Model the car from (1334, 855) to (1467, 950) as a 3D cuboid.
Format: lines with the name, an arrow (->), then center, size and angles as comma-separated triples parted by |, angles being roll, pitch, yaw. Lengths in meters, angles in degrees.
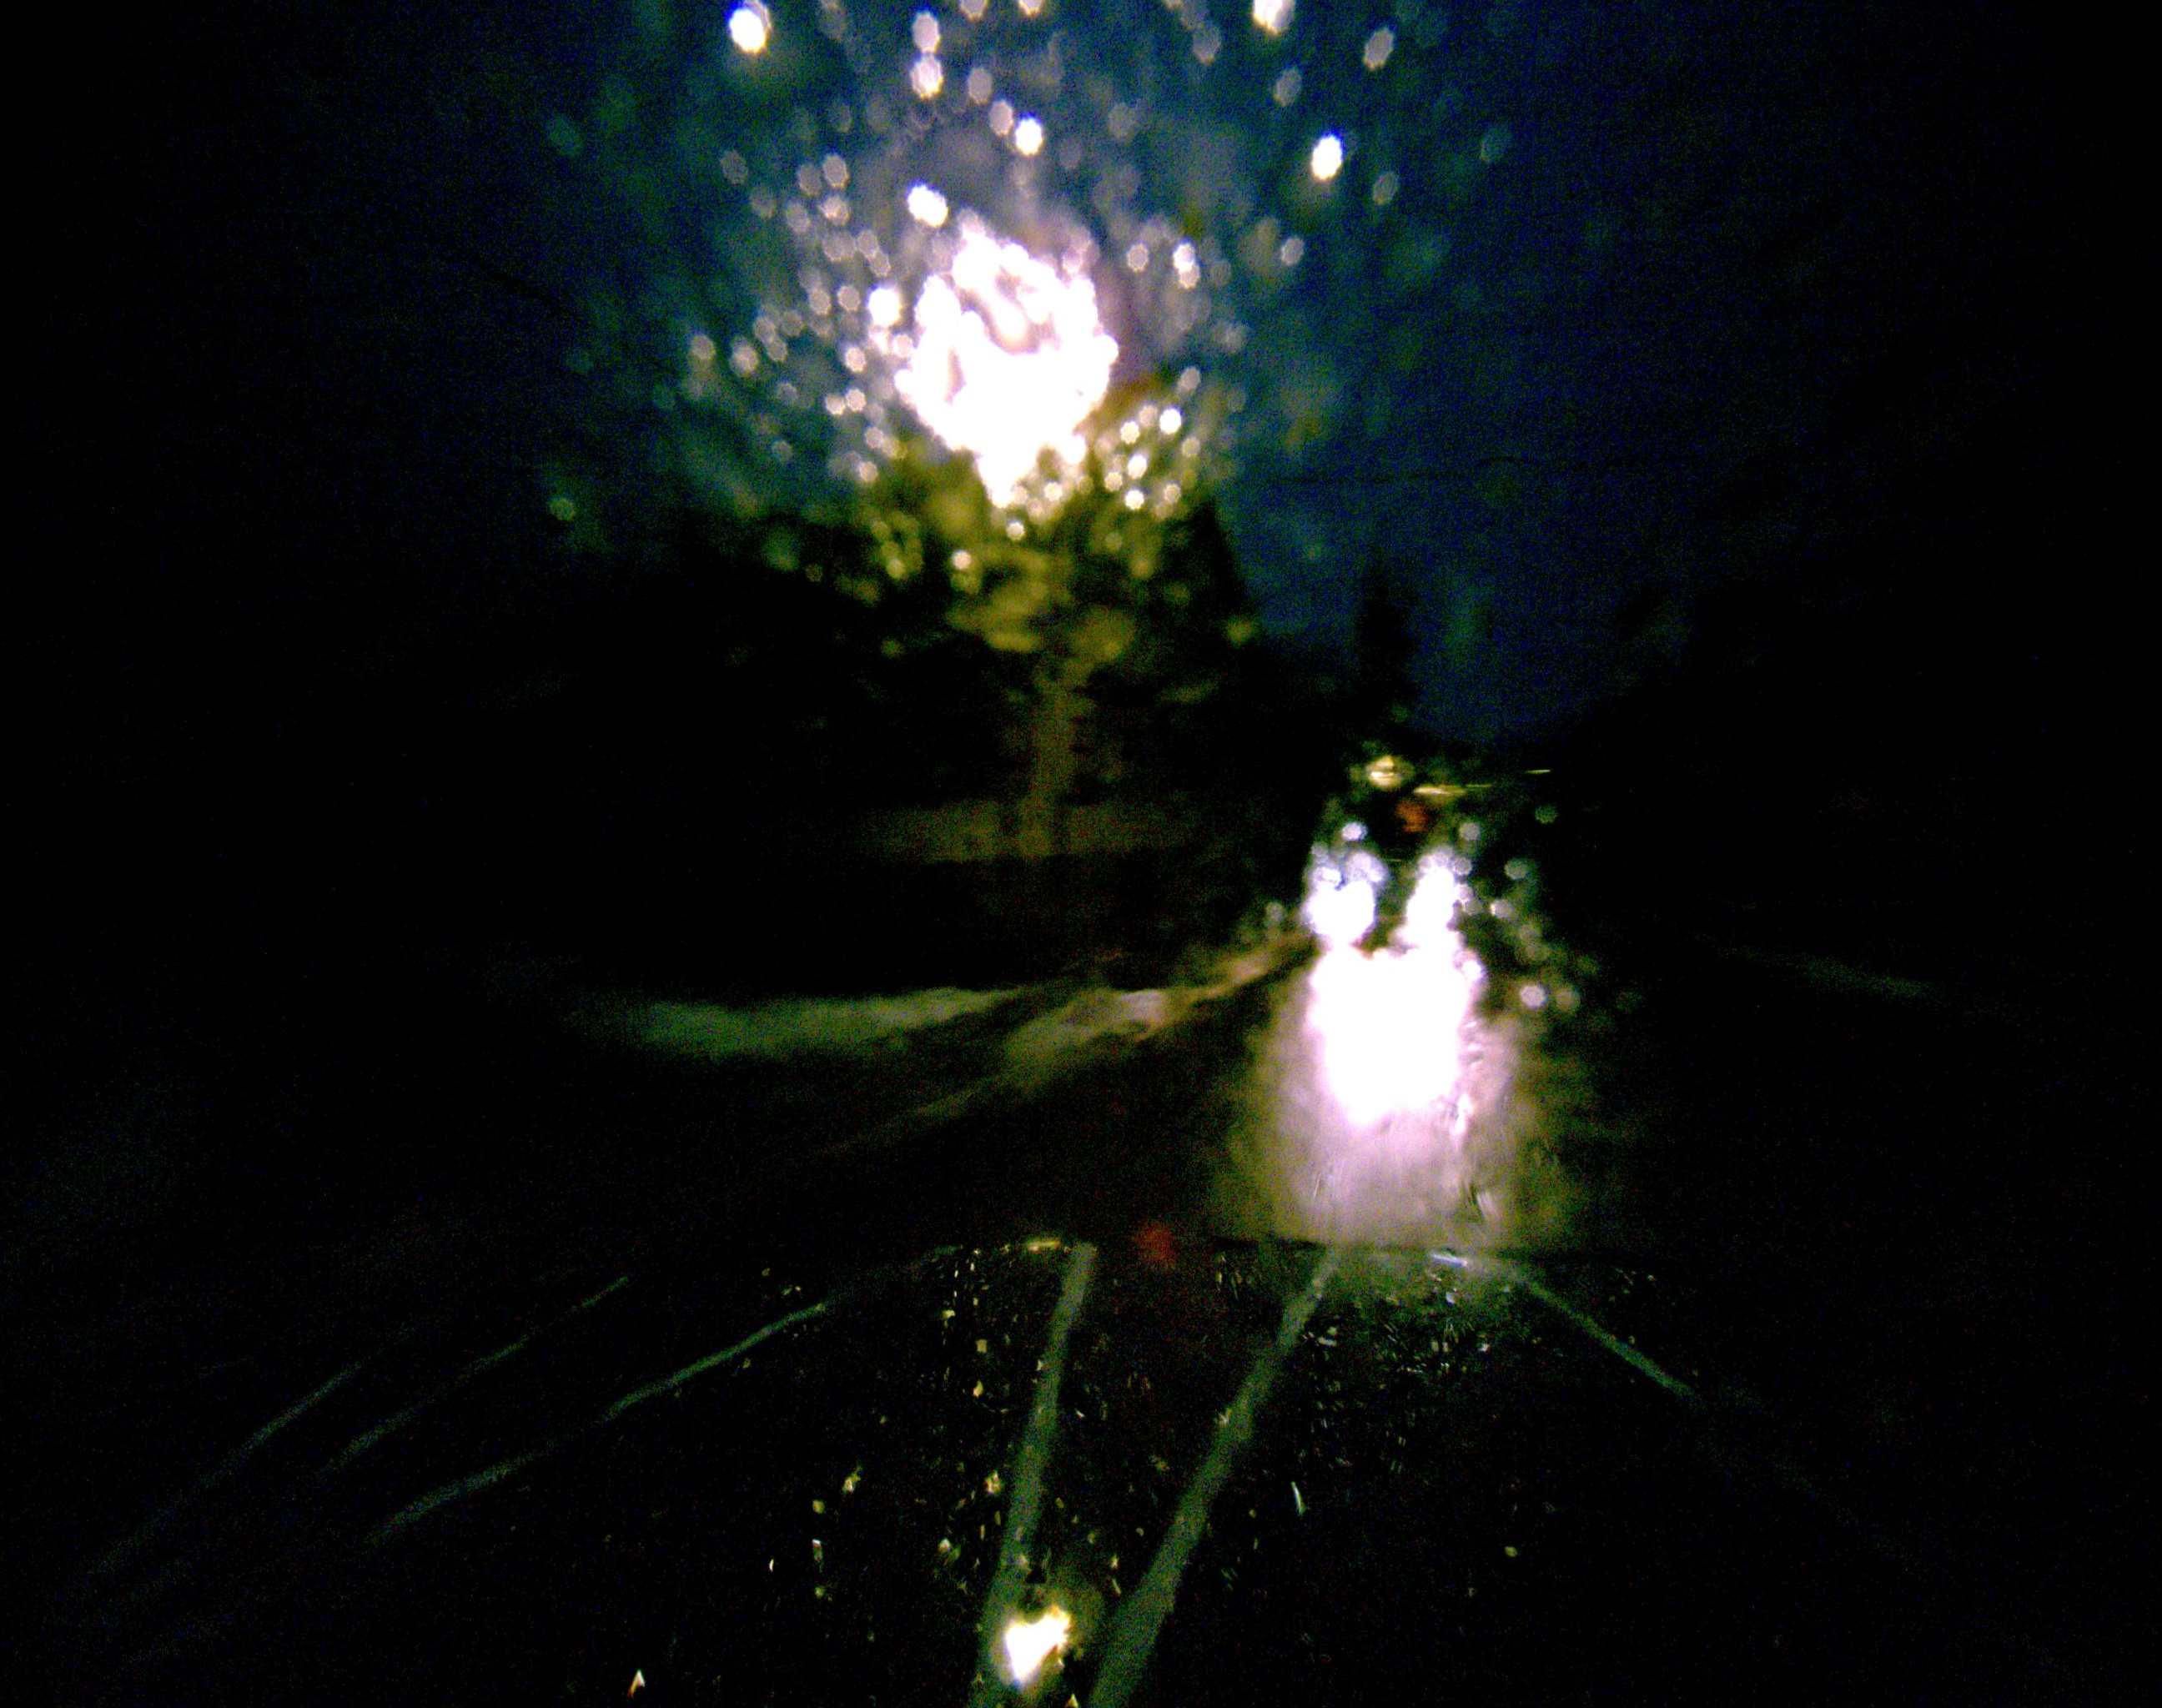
car -> 6.256, 0.776, 14.622 | 1.995, 1.373, 4.941 | 0, 1, 26

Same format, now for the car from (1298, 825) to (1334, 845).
car -> 19.280, -1.570, 62.471 | 1.754, 1.405, 4.078 | -2, 4, 1
